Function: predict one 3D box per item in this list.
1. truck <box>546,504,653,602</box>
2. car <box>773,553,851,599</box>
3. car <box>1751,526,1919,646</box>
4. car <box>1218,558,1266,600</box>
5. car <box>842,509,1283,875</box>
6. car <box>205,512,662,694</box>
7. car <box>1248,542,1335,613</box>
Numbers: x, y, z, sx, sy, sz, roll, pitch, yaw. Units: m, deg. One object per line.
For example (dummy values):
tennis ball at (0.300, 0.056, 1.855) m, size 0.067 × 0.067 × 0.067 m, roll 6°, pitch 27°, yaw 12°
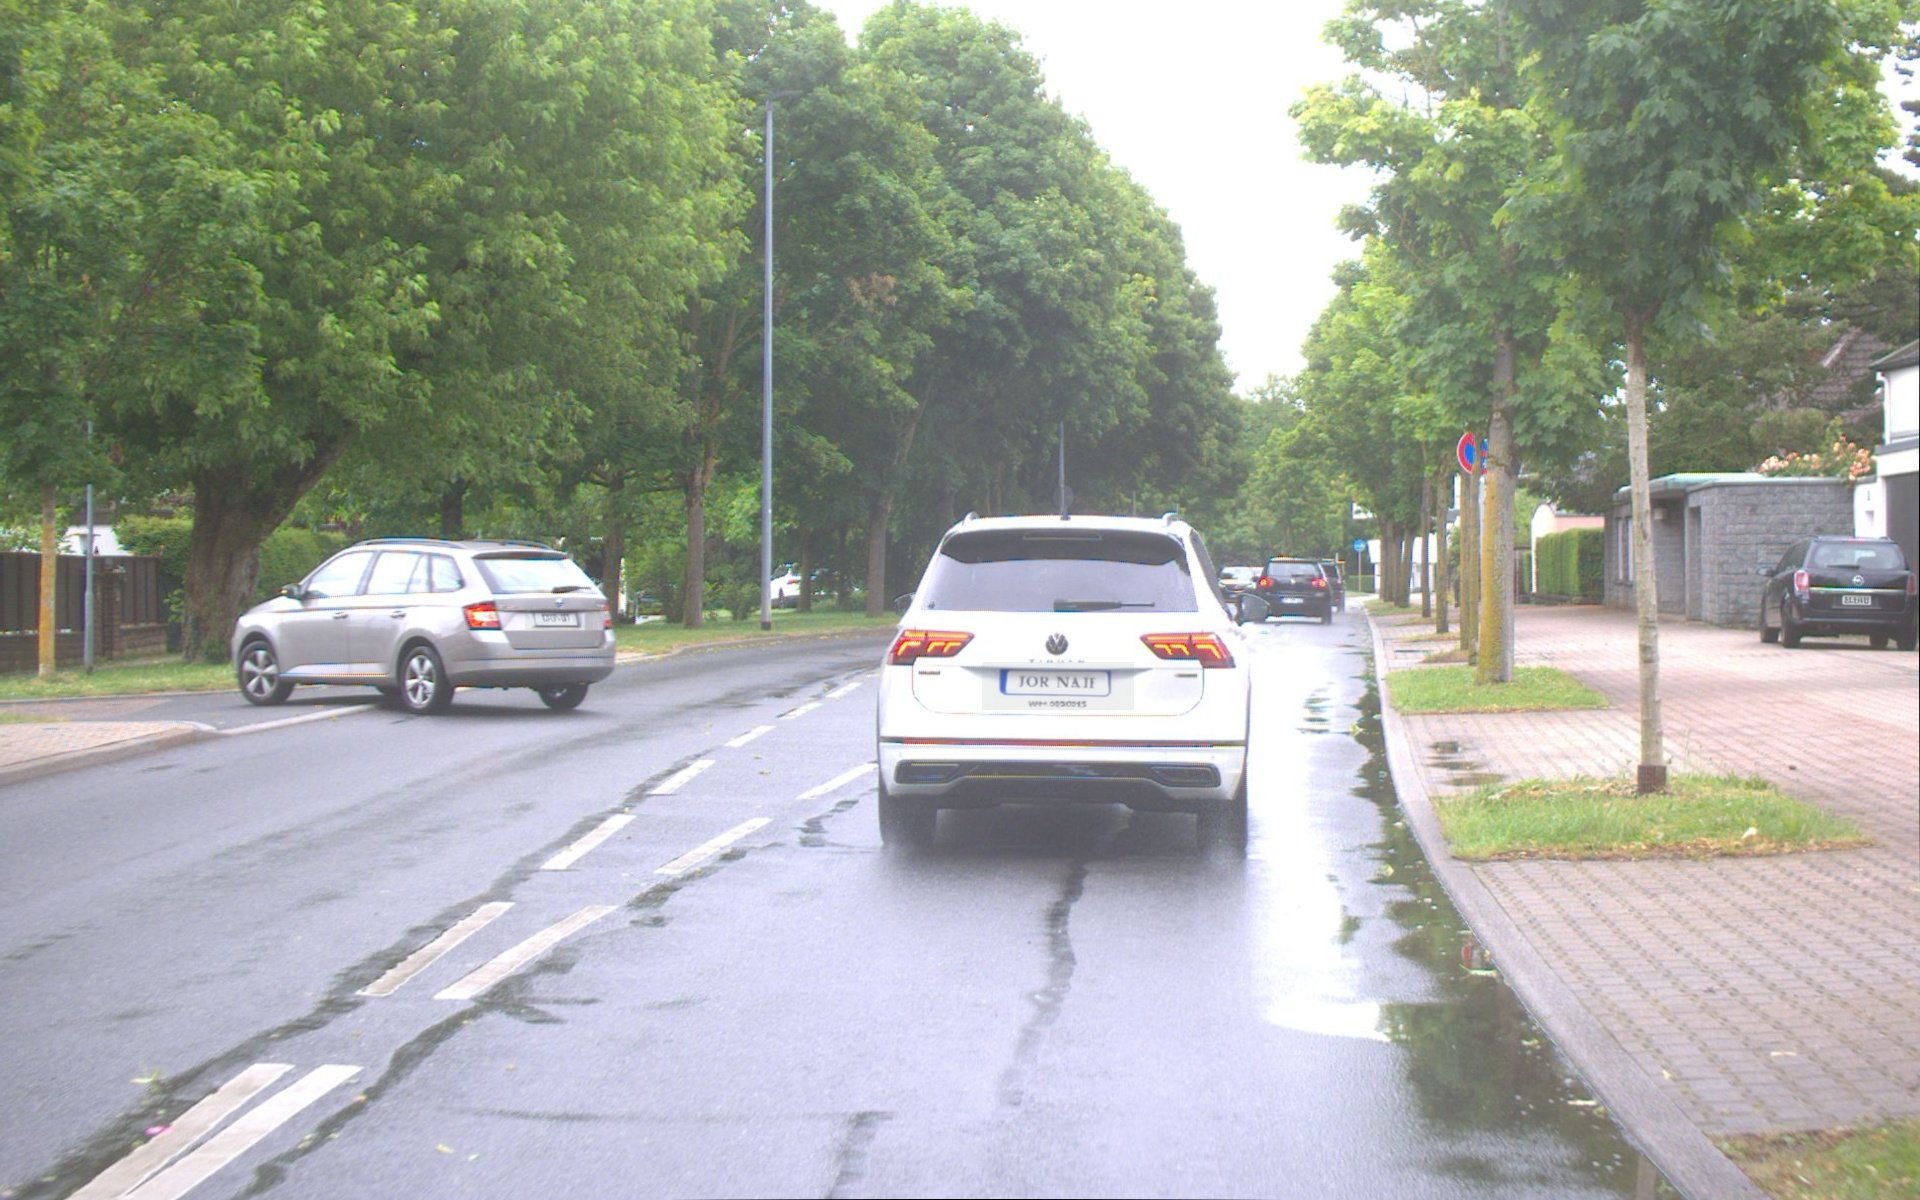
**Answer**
truck at (-9.833, -1.277, 94.217) m, size 2.284 × 2.588 × 5.874 m, roll 0°, pitch 0°, yaw 0°
car at (-4.883, -0.789, 113.134) m, size 1.840 × 1.477 × 4.001 m, roll -1°, pitch 1°, yaw -13°
car at (11.673, -0.210, 45.823) m, size 1.771 × 1.493 × 4.543 m, roll -1°, pitch 1°, yaw 8°
car at (11.356, -0.857, 138.073) m, size 1.815 × 1.642 × 3.999 m, roll 1°, pitch 1°, yaw 6°
car at (0.627, 0.392, 17.949) m, size 1.997 × 1.626 × 3.999 m, roll 2°, pitch 1°, yaw 5°
car at (-4.694, 0.044, 30.387) m, size 3.996 × 1.482 × 1.842 m, roll -1°, pitch 0°, yaw 42°
car at (7.584, -0.531, 78.419) m, size 1.841 × 1.482 × 3.999 m, roll 2°, pitch 1°, yaw 6°
